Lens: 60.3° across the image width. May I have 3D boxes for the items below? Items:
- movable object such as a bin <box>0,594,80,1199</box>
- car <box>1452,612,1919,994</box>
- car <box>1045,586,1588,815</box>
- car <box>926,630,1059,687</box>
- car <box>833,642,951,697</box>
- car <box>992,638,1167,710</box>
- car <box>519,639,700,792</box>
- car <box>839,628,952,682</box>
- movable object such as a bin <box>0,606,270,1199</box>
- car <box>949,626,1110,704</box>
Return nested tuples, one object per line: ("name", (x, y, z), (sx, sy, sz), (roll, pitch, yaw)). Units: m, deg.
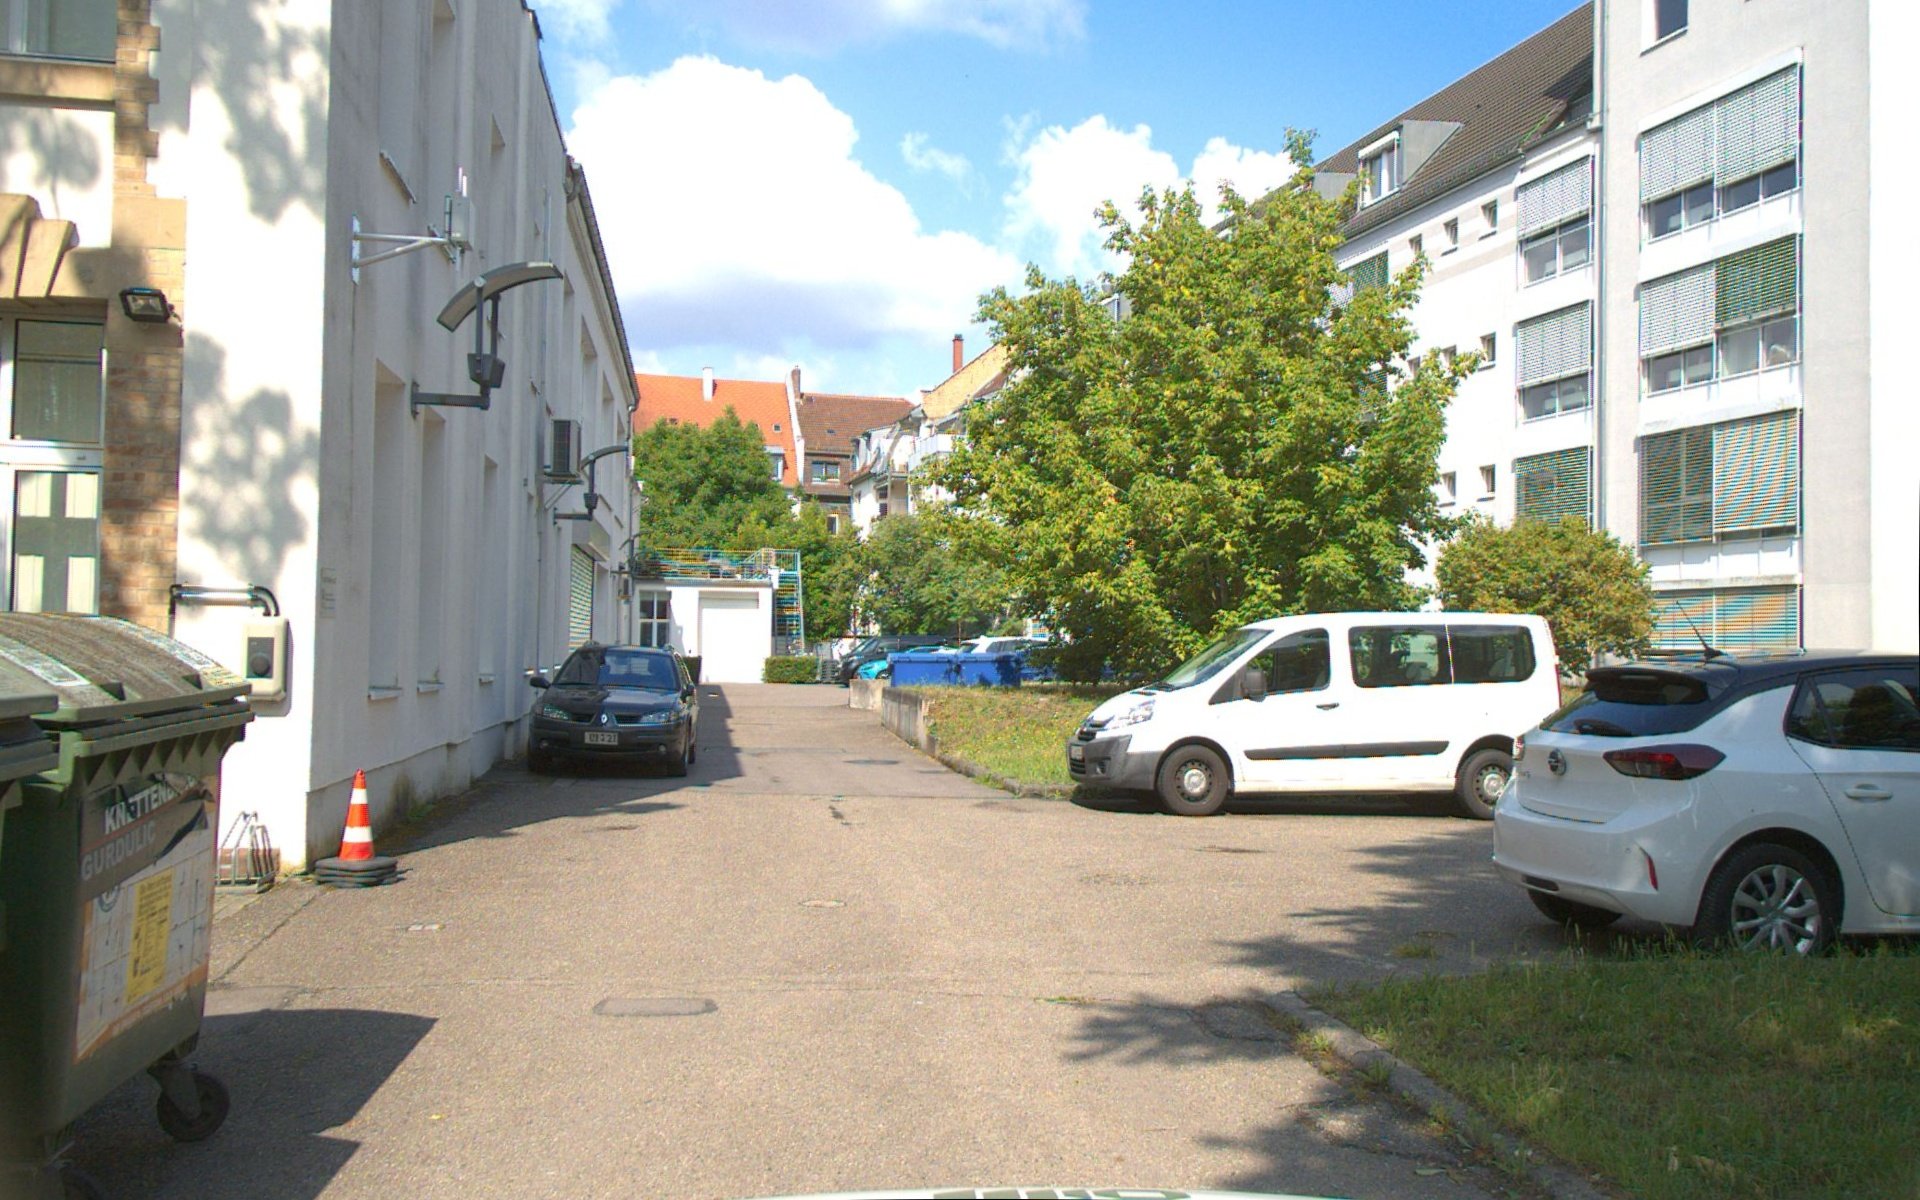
("movable object such as a bin", (-2.333, 0.744, 2.675), (1.200, 1.476, 1.281), (1, 2, -6))
("car", (4.603, 0.839, 8.103), (3.833, 1.444, 1.755), (-2, 2, -10))
("car", (3.411, 0.910, 16.326), (4.846, 1.999, 1.996), (-1, 0, -8))
("car", (1.011, 1.830, 52.249), (3.921, 1.469, 1.623), (-2, 4, -15))
("car", (-2.408, 2.439, 58.486), (3.920, 1.600, 1.623), (-2, 4, -15))
("car", (2.988, 1.845, 41.687), (4.044, 1.634, 1.749), (1, 2, -15))
("car", (-3.998, 1.259, 19.465), (1.844, 1.467, 4.331), (0, 0, -9))
("car", (-2.412, 2.039, 61.290), (3.920, 1.848, 1.658), (1, 2, -15))
("movable object such as a bin", (-2.505, 0.786, 4.159), (1.078, 1.476, 1.341), (1, 2, -7))
("car", (1.848, 1.718, 44.430), (3.920, 1.775, 1.943), (-1, 3, -15))
